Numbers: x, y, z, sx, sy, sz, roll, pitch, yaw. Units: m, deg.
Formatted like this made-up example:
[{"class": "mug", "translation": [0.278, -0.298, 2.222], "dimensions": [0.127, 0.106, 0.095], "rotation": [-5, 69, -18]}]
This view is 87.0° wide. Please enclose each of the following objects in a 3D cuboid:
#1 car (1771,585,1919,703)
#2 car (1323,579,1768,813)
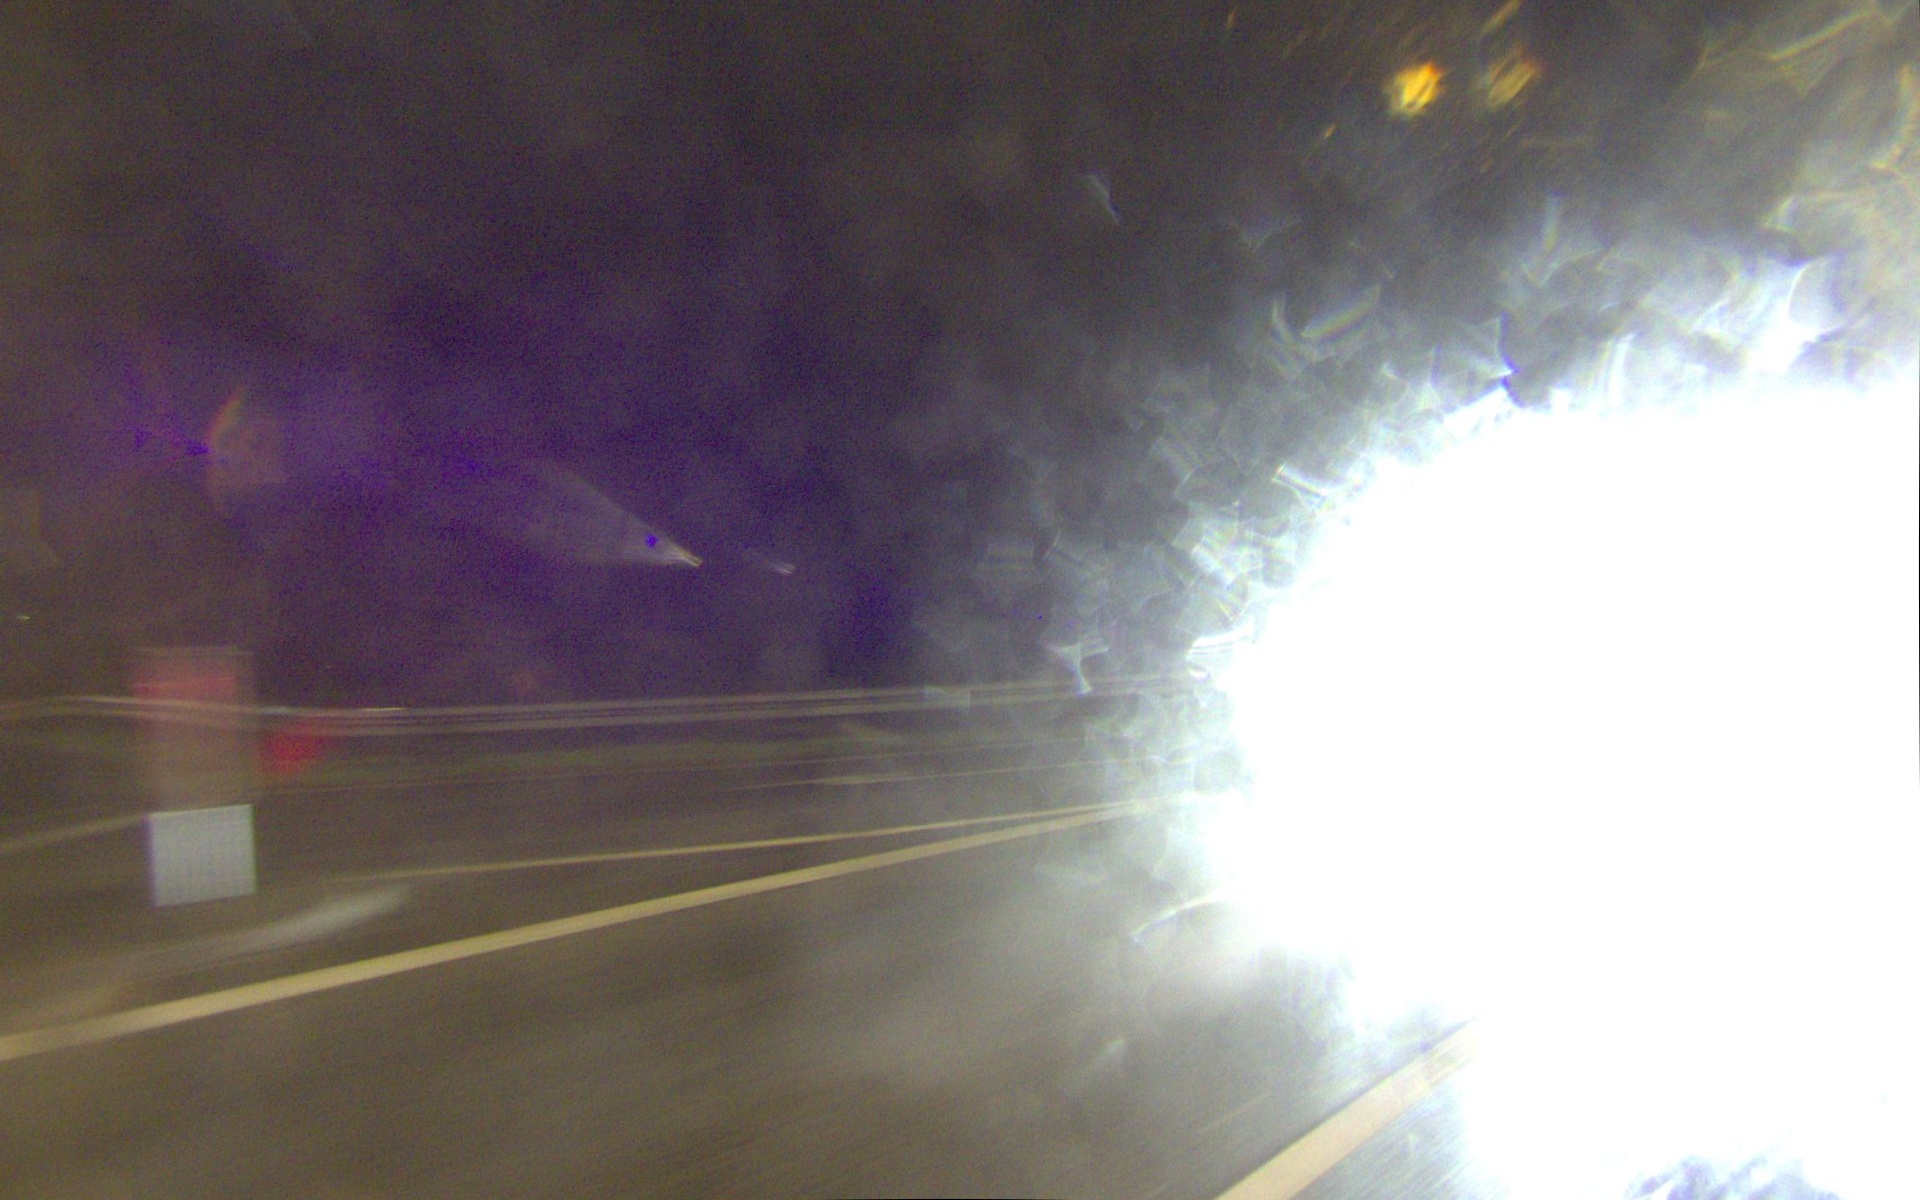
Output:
[{"class": "car", "translation": [14.238, 0.571, 15.322], "dimensions": [4.329, 1.541, 1.712], "rotation": [-2, -1, -33]}, {"class": "car", "translation": [5.153, 0.663, 8.660], "dimensions": [4.475, 1.526, 1.676], "rotation": [0, -3, -38]}]
